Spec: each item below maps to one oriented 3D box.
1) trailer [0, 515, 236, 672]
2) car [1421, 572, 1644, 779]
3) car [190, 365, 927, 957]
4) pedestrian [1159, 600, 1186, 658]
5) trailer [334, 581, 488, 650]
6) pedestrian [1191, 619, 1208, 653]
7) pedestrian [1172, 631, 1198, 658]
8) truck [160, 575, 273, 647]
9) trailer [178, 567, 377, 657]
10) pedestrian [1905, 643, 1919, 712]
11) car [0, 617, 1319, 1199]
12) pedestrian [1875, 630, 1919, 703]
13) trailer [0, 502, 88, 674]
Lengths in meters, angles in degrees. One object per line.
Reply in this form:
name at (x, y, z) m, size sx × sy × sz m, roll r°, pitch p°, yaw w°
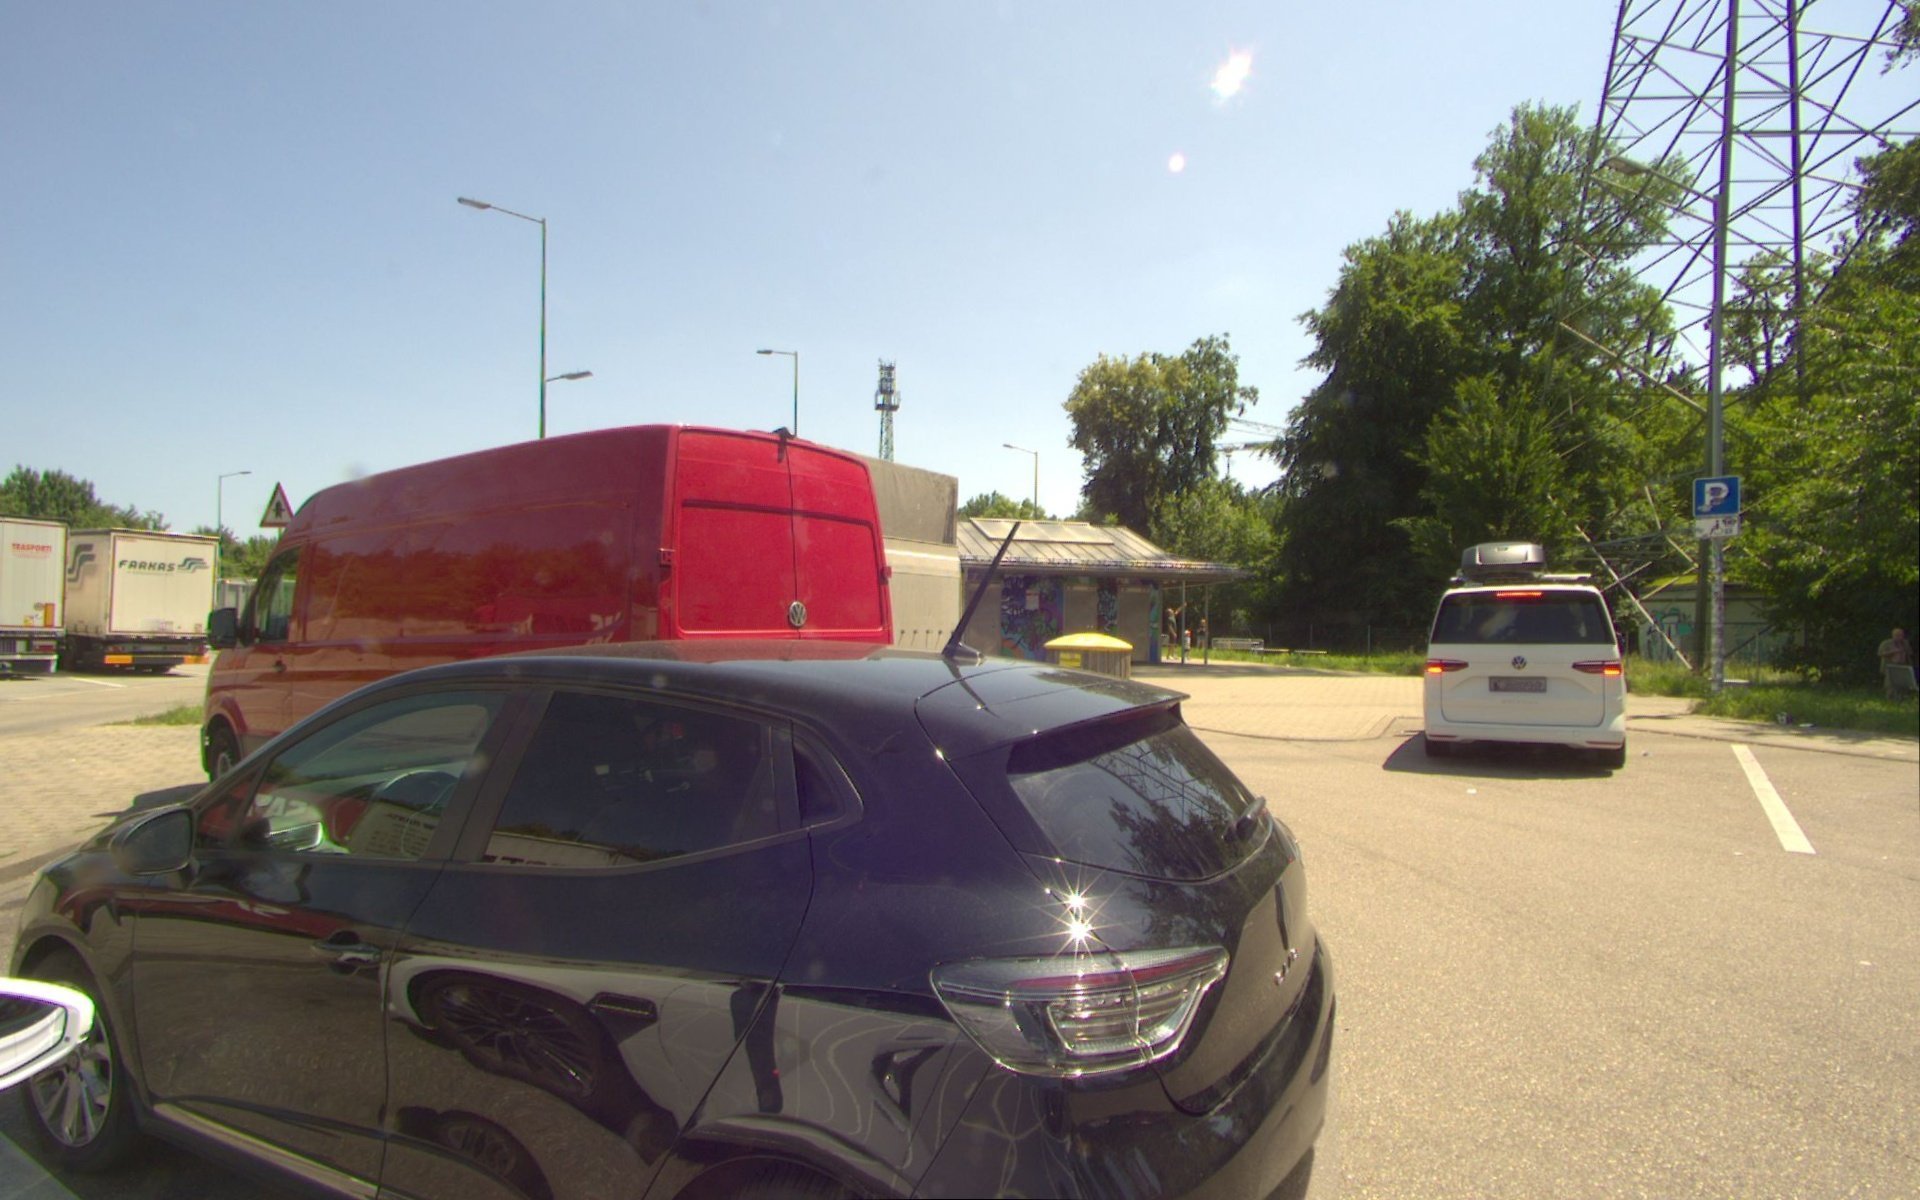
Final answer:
trailer at (-27.654, -0.195, 31.628) m, size 13.523 × 4.185 × 2.835 m, roll 1°, pitch -2°, yaw 33°
car at (6.530, 0.763, 11.843) m, size 1.881 × 1.937 × 4.549 m, roll -1°, pitch -1°, yaw 26°
car at (-3.346, 0.306, 7.358) m, size 6.310 × 2.731 × 2.060 m, roll 0°, pitch -1°, yaw 37°
pedestrian at (7.729, 1.059, 36.429) m, size 0.763 × 2.067 × 0.646 m, roll 0°, pitch -1°, yaw -7°
trailer at (-36.045, 0.906, 65.431) m, size 13.530 × 4.101 × 2.833 m, roll 1°, pitch -2°, yaw 34°
pedestrian at (10.932, 1.646, 45.666) m, size 0.633 × 1.547 × 0.565 m, roll 0°, pitch -1°, yaw -1°
pedestrian at (8.232, 1.618, 36.617) m, size 0.763 × 0.960 × 0.646 m, roll 0°, pitch -1°, yaw -7°
truck at (-37.689, 0.562, 50.737) m, size 5.405 × 3.407 × 2.847 m, roll 1°, pitch -2°, yaw 34°
trailer at (-32.380, 0.478, 47.138) m, size 13.530 × 3.764 × 2.834 m, roll 1°, pitch -2°, yaw 34°
pedestrian at (17.198, 1.346, 17.478) m, size 0.876 × 1.192 × 0.666 m, roll -1°, pitch -2°, yaw 32°
car at (-1.053, 0.832, 2.907) m, size 3.757 × 1.501 × 1.736 m, roll 0°, pitch -1°, yaw 27°
pedestrian at (18.839, 1.319, 20.039) m, size 0.660 × 1.422 × 0.647 m, roll -1°, pitch -1°, yaw 33°
trailer at (-28.962, -0.373, 28.147) m, size 13.523 × 4.185 × 2.835 m, roll 1°, pitch -2°, yaw 33°
